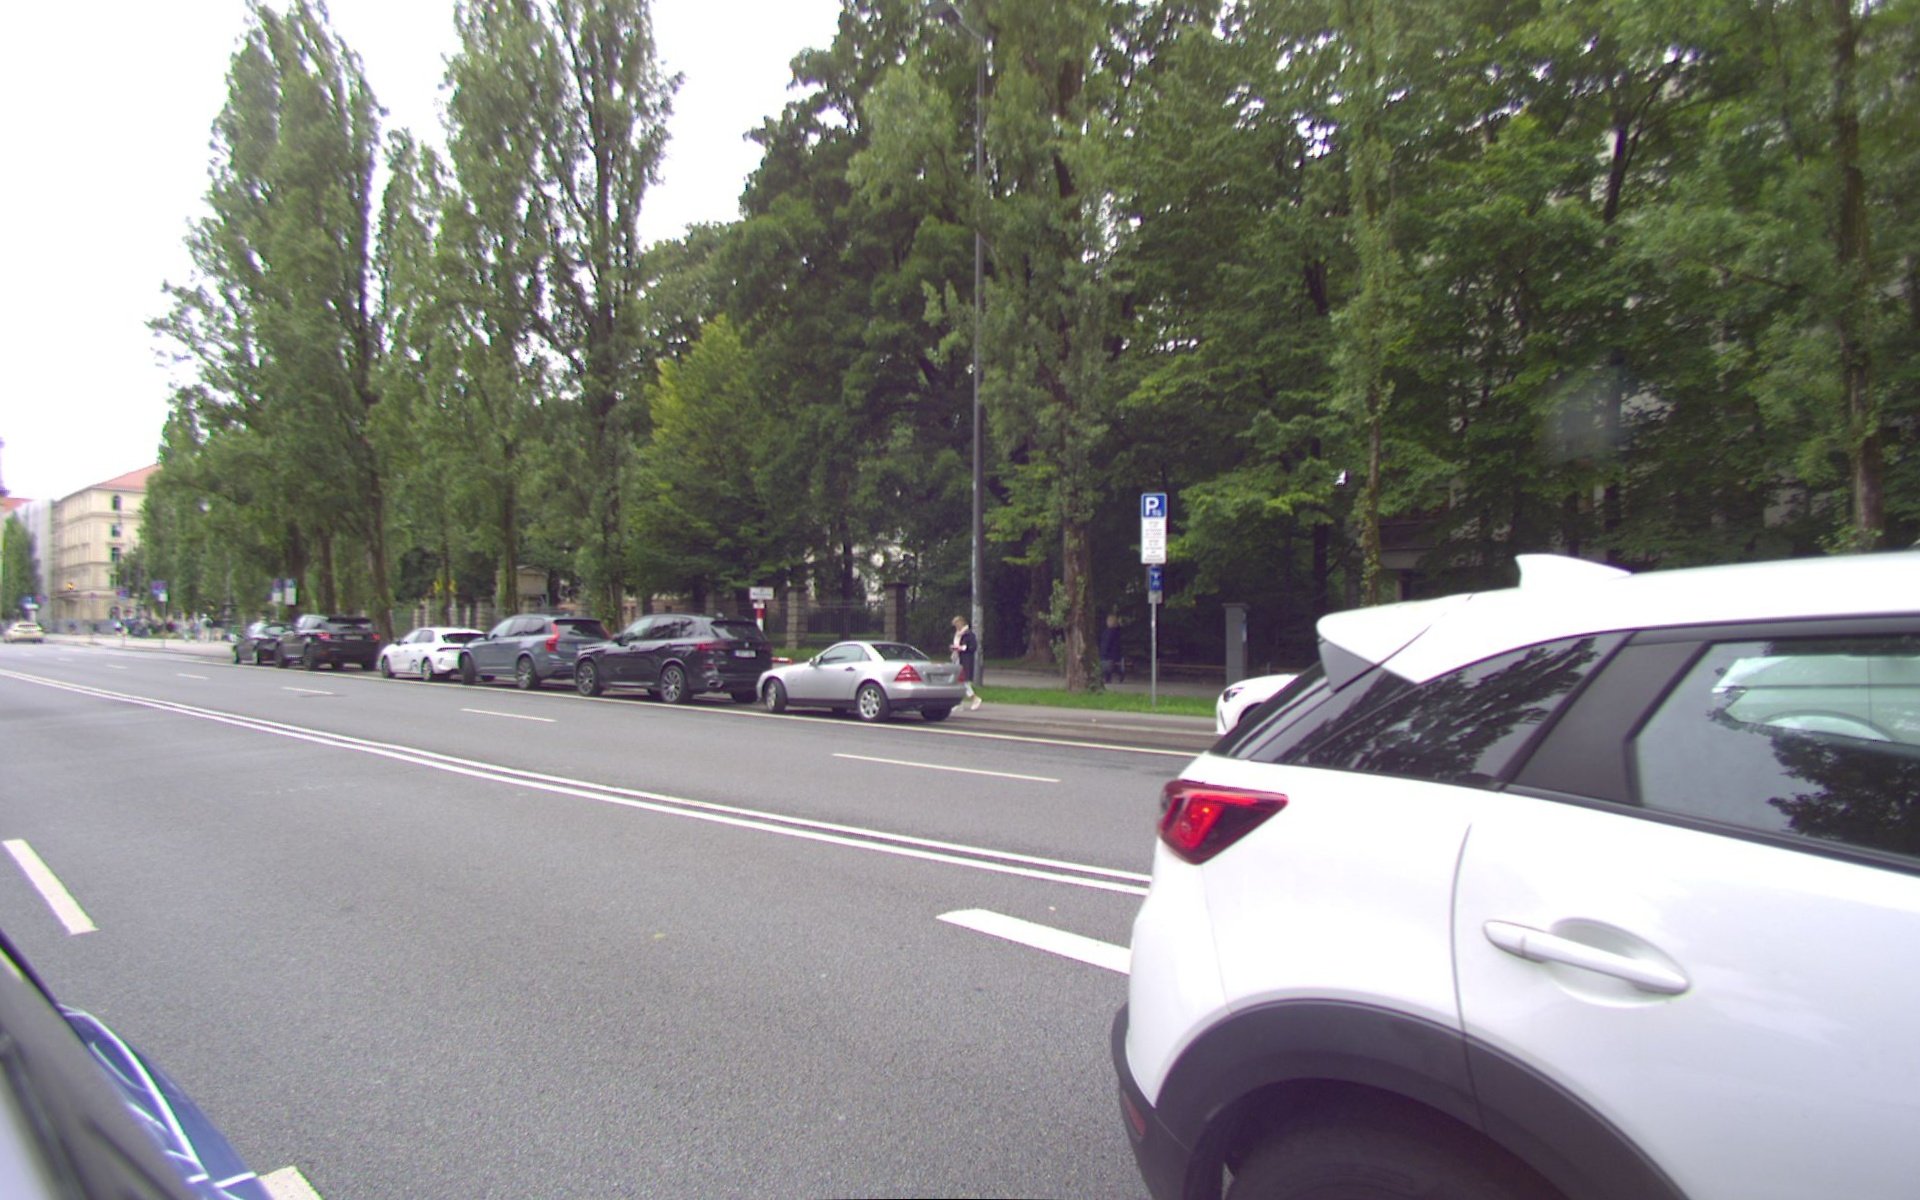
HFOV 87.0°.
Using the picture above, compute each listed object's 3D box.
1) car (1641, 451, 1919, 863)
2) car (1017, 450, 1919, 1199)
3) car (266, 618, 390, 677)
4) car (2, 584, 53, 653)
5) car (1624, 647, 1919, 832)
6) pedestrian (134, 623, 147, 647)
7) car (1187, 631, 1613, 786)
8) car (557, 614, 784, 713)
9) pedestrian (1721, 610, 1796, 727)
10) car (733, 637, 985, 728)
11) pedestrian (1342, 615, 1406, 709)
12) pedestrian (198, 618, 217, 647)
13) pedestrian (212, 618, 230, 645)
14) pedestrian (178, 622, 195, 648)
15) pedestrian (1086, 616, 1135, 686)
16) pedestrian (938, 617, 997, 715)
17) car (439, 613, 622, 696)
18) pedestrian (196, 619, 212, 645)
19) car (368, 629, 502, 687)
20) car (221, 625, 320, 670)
[{"bbox_3d":[8.042,0.357,5.737,6.751,2.502,2.205,-1,-4,40],"label":"car"},{"bbox_3d":[2.211,0.610,1.207,4.008,1.537,1.884,-2,-2,43],"label":"car"},{"bbox_3d":[-20.836,1.543,33.302,4.796,1.800,2.025,-1,-4,40],"label":"car"},{"bbox_3d":[-64.589,1.282,70.144,1.326,4.516,1.782,-36,-35,14],"label":"car"},{"bbox_3d":[8.102,1.191,8.954,3.582,1.462,1.692,-1,-4,39],"label":"car"},{"bbox_3d":[-59.578,2.560,73.587,0.581,1.744,0.527,-1,-2,29],"label":"pedestrian"},{"bbox_3d":[4.957,1.132,11.723,4.229,1.463,1.753,-1,-4,39],"label":"car"},{"bbox_3d":[-5.941,1.241,20.492,4.890,1.781,1.922,-1,-4,39],"label":"car"},{"bbox_3d":[12.722,1.067,16.120,0.889,1.785,0.729,-1,-1,41],"label":"pedestrian"},{"bbox_3d":[-1.801,1.335,17.196,4.230,1.344,1.808,-1,-4,40],"label":"car"},{"bbox_3d":[7.983,1.174,19.518,0.956,1.755,0.659,-2,-2,41],"label":"pedestrian"},{"bbox_3d":[-49.197,2.135,66.150,1.092,1.847,0.702,-1,-2,39],"label":"pedestrian"},{"bbox_3d":[-48.735,2.070,66.735,1.092,1.786,0.702,-1,-2,39],"label":"pedestrian"},{"bbox_3d":[-51.421,2.307,67.269,0.885,1.713,0.681,-2,-2,40],"label":"pedestrian"},{"bbox_3d":[3.571,1.193,24.066,0.881,1.611,0.729,-1,-1,41],"label":"pedestrian"},{"bbox_3d":[0.132,1.143,17.849,0.751,1.677,0.730,-1,-2,41],"label":"pedestrian"},{"bbox_3d":[-10.499,1.293,24.556,5.175,1.803,1.890,-1,-5,40],"label":"car"},{"bbox_3d":[-50.735,2.171,67.943,0.910,1.729,0.653,-2,-2,40],"label":"pedestrian"},{"bbox_3d":[-14.454,1.559,27.776,4.269,1.470,1.687,-1,-4,40],"label":"car"},{"bbox_3d":[-25.573,1.747,37.494,4.386,1.596,1.924,-1,-4,41],"label":"car"}]
